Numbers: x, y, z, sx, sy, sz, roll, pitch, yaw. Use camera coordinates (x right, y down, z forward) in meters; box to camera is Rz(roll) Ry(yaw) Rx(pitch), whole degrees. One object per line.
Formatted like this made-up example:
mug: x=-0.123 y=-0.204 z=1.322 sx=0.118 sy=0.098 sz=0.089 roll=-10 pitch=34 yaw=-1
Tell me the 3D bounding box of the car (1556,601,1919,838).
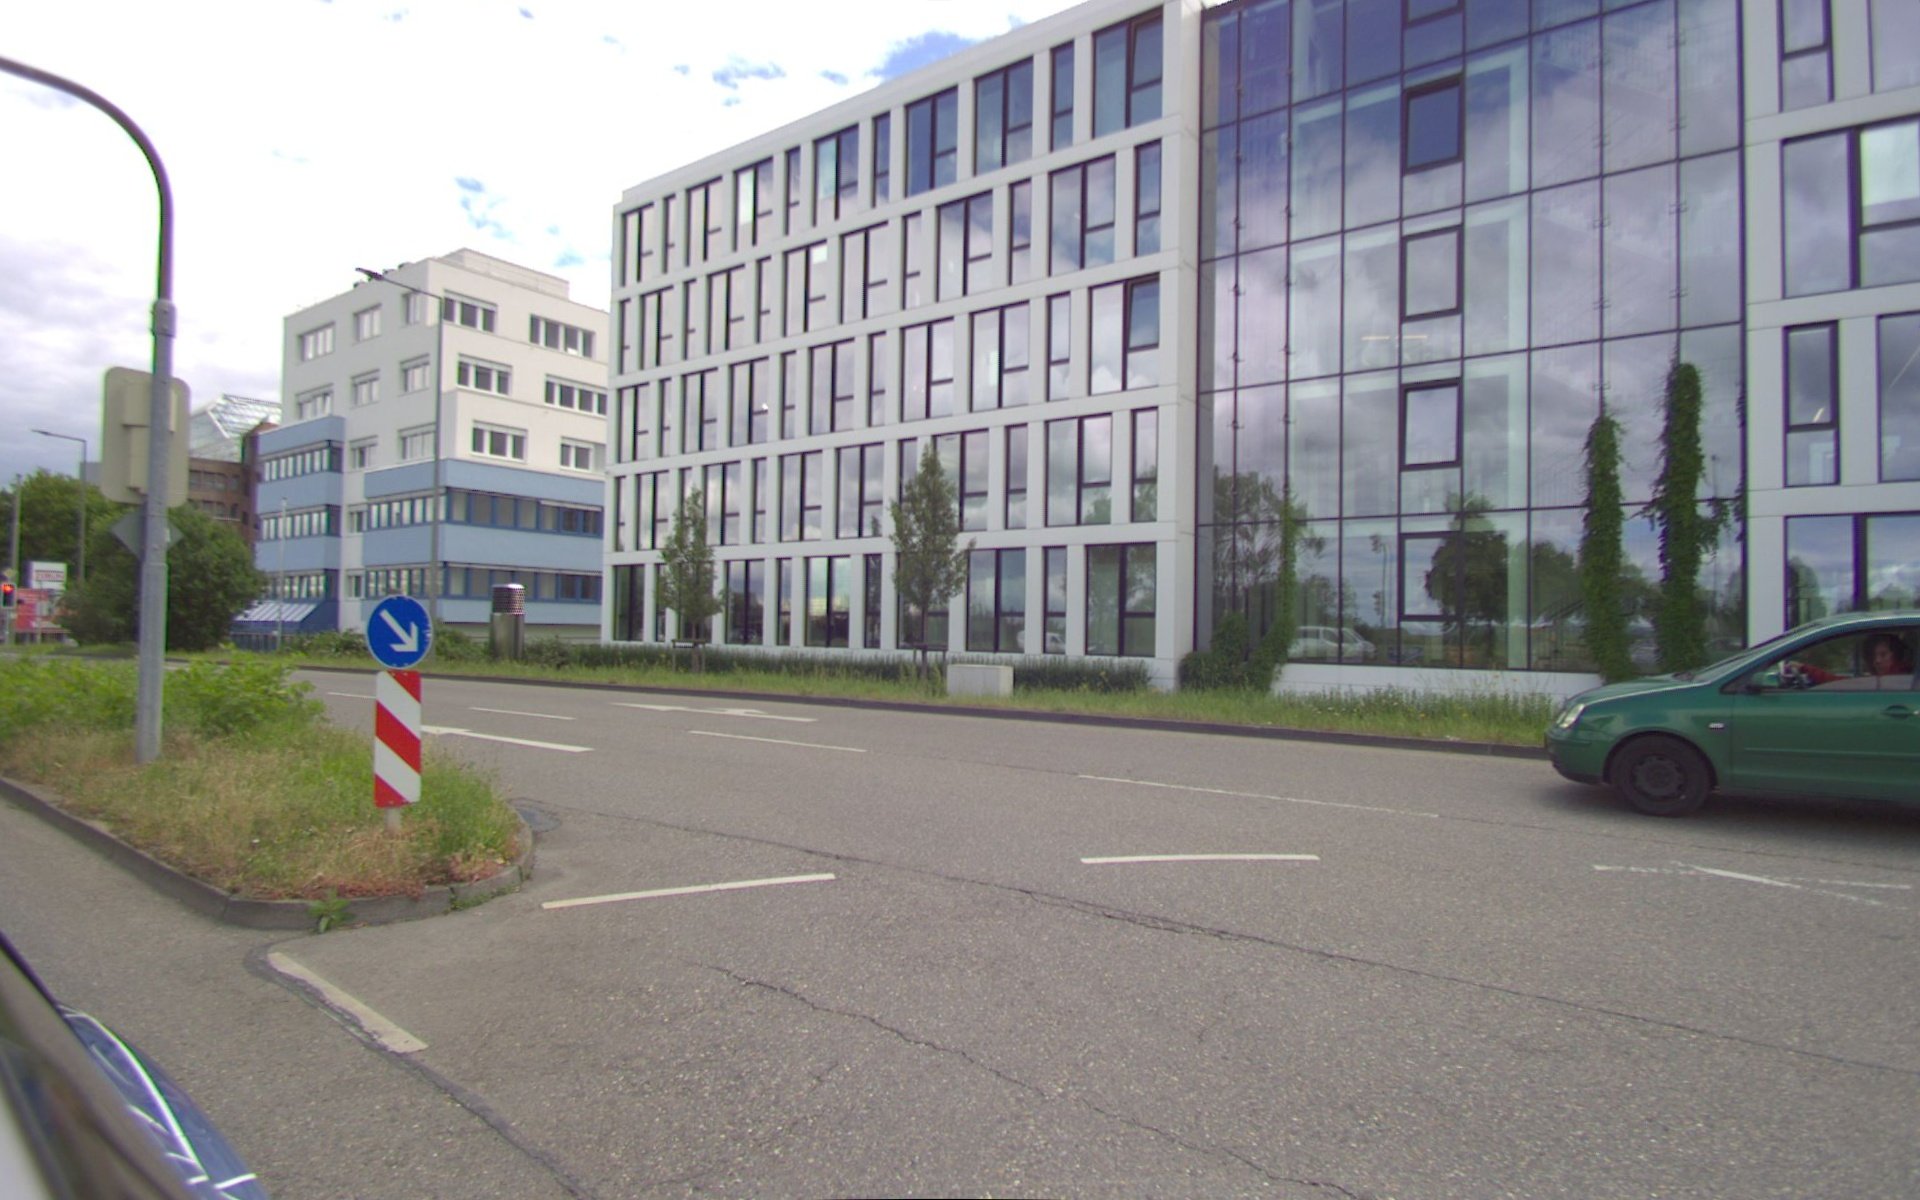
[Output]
car: x=6.357 y=0.742 z=6.922 sx=3.748 sy=1.443 sz=1.590 roll=-1 pitch=0 yaw=38
